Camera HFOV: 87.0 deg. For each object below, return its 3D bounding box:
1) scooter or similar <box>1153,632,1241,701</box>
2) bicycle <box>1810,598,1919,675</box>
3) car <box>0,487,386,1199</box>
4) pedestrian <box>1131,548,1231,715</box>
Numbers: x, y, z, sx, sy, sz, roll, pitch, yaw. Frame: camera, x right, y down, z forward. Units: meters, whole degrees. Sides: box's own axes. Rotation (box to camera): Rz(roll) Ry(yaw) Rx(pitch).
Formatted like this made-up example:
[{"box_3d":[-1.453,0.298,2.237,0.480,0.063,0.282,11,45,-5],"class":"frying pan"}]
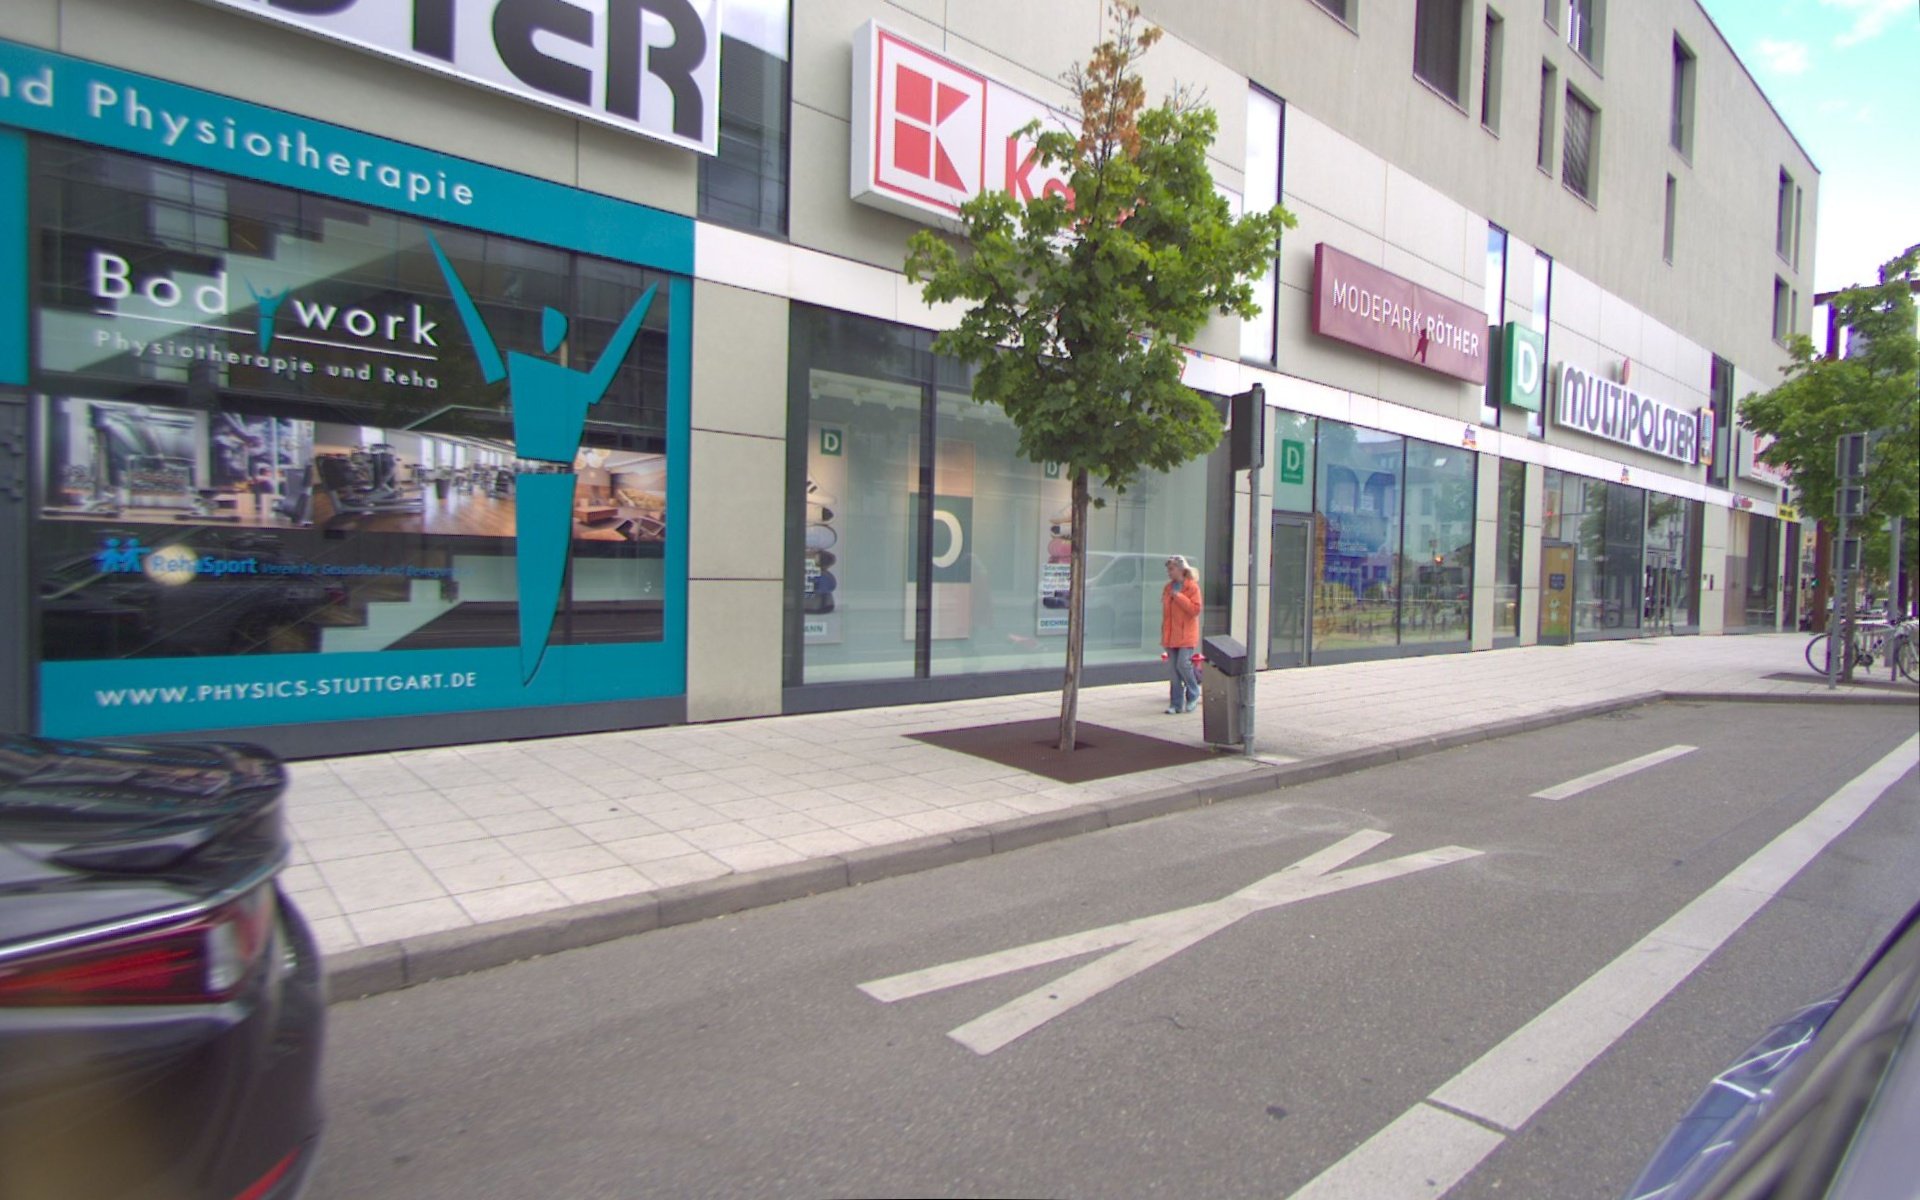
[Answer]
[{"box_3d":[2.546,0.697,10.874,0.754,0.642,0.552,0,4,-41],"class":"scooter or similar"},{"box_3d":[15.193,0.599,16.660,1.740,1.113,0.553,6,4,43],"class":"bicycle"},{"box_3d":[-3.294,0.631,0.809,4.707,1.561,1.739,-1,1,-41],"class":"car"},{"box_3d":[2.208,0.291,10.131,0.719,1.586,0.590,0,3,-41],"class":"pedestrian"}]
